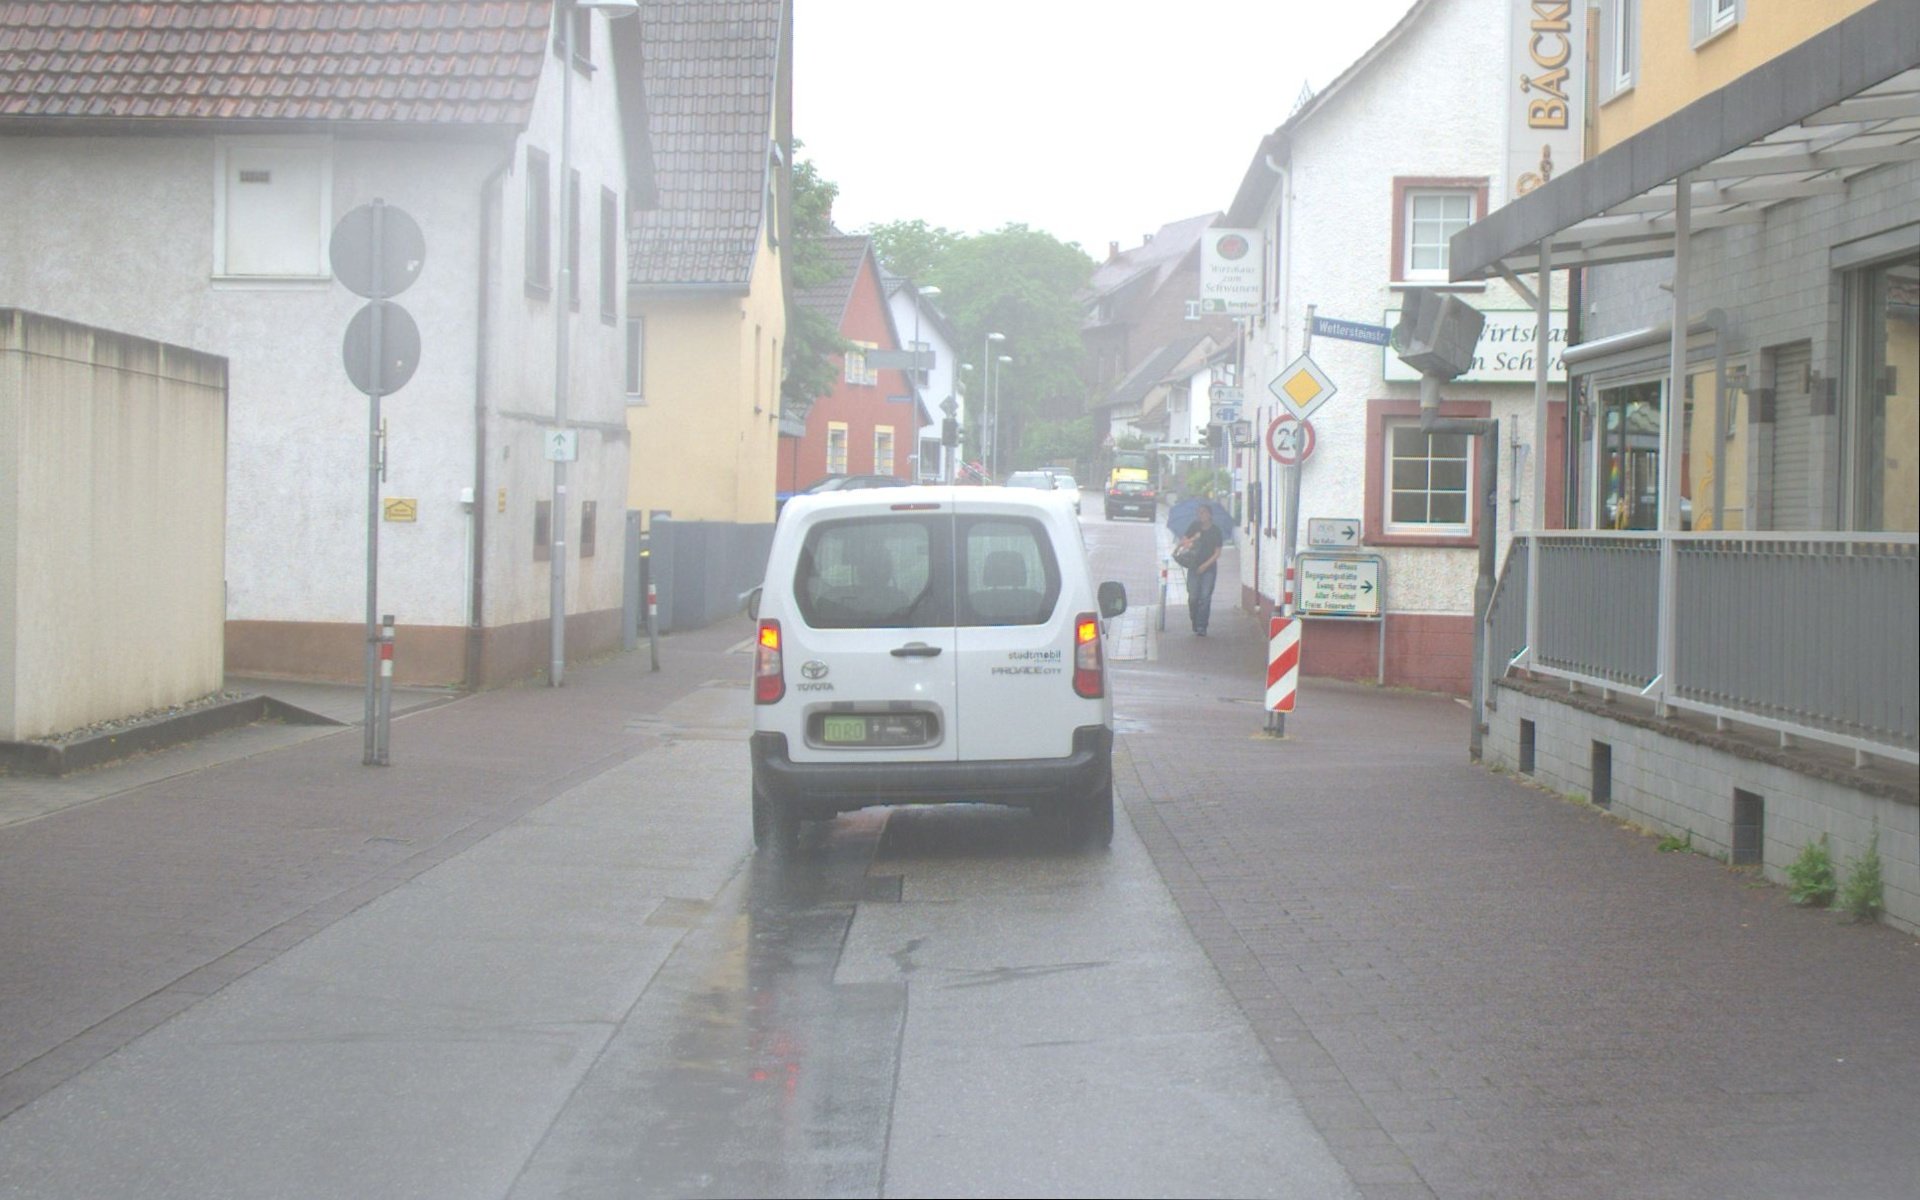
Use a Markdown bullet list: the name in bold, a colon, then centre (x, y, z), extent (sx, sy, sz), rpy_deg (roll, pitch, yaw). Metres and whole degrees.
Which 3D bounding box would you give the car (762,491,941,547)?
- **car**: centre (-2.731, -2.038, 86.712), extent (3.987, 1.368, 2.111), rpy_deg (0, 1, -34)

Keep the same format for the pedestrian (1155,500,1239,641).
- **pedestrian**: centre (3.036, -0.389, 43.950), extent (0.994, 1.730, 0.811), rpy_deg (2, 4, 7)

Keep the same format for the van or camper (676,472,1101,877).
- **van or camper**: centre (-0.333, 0.326, 18.158), extent (1.943, 1.845, 4.000), rpy_deg (2, 1, 0)

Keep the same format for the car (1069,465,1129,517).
- **car**: centre (4.882, -3.829, 120.931), extent (1.993, 1.741, 4.000), rpy_deg (1, 2, 1)

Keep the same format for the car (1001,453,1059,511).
- **car**: centre (2.248, -3.782, 109.746), extent (1.812, 1.773, 4.018), rpy_deg (1, 3, 2)
